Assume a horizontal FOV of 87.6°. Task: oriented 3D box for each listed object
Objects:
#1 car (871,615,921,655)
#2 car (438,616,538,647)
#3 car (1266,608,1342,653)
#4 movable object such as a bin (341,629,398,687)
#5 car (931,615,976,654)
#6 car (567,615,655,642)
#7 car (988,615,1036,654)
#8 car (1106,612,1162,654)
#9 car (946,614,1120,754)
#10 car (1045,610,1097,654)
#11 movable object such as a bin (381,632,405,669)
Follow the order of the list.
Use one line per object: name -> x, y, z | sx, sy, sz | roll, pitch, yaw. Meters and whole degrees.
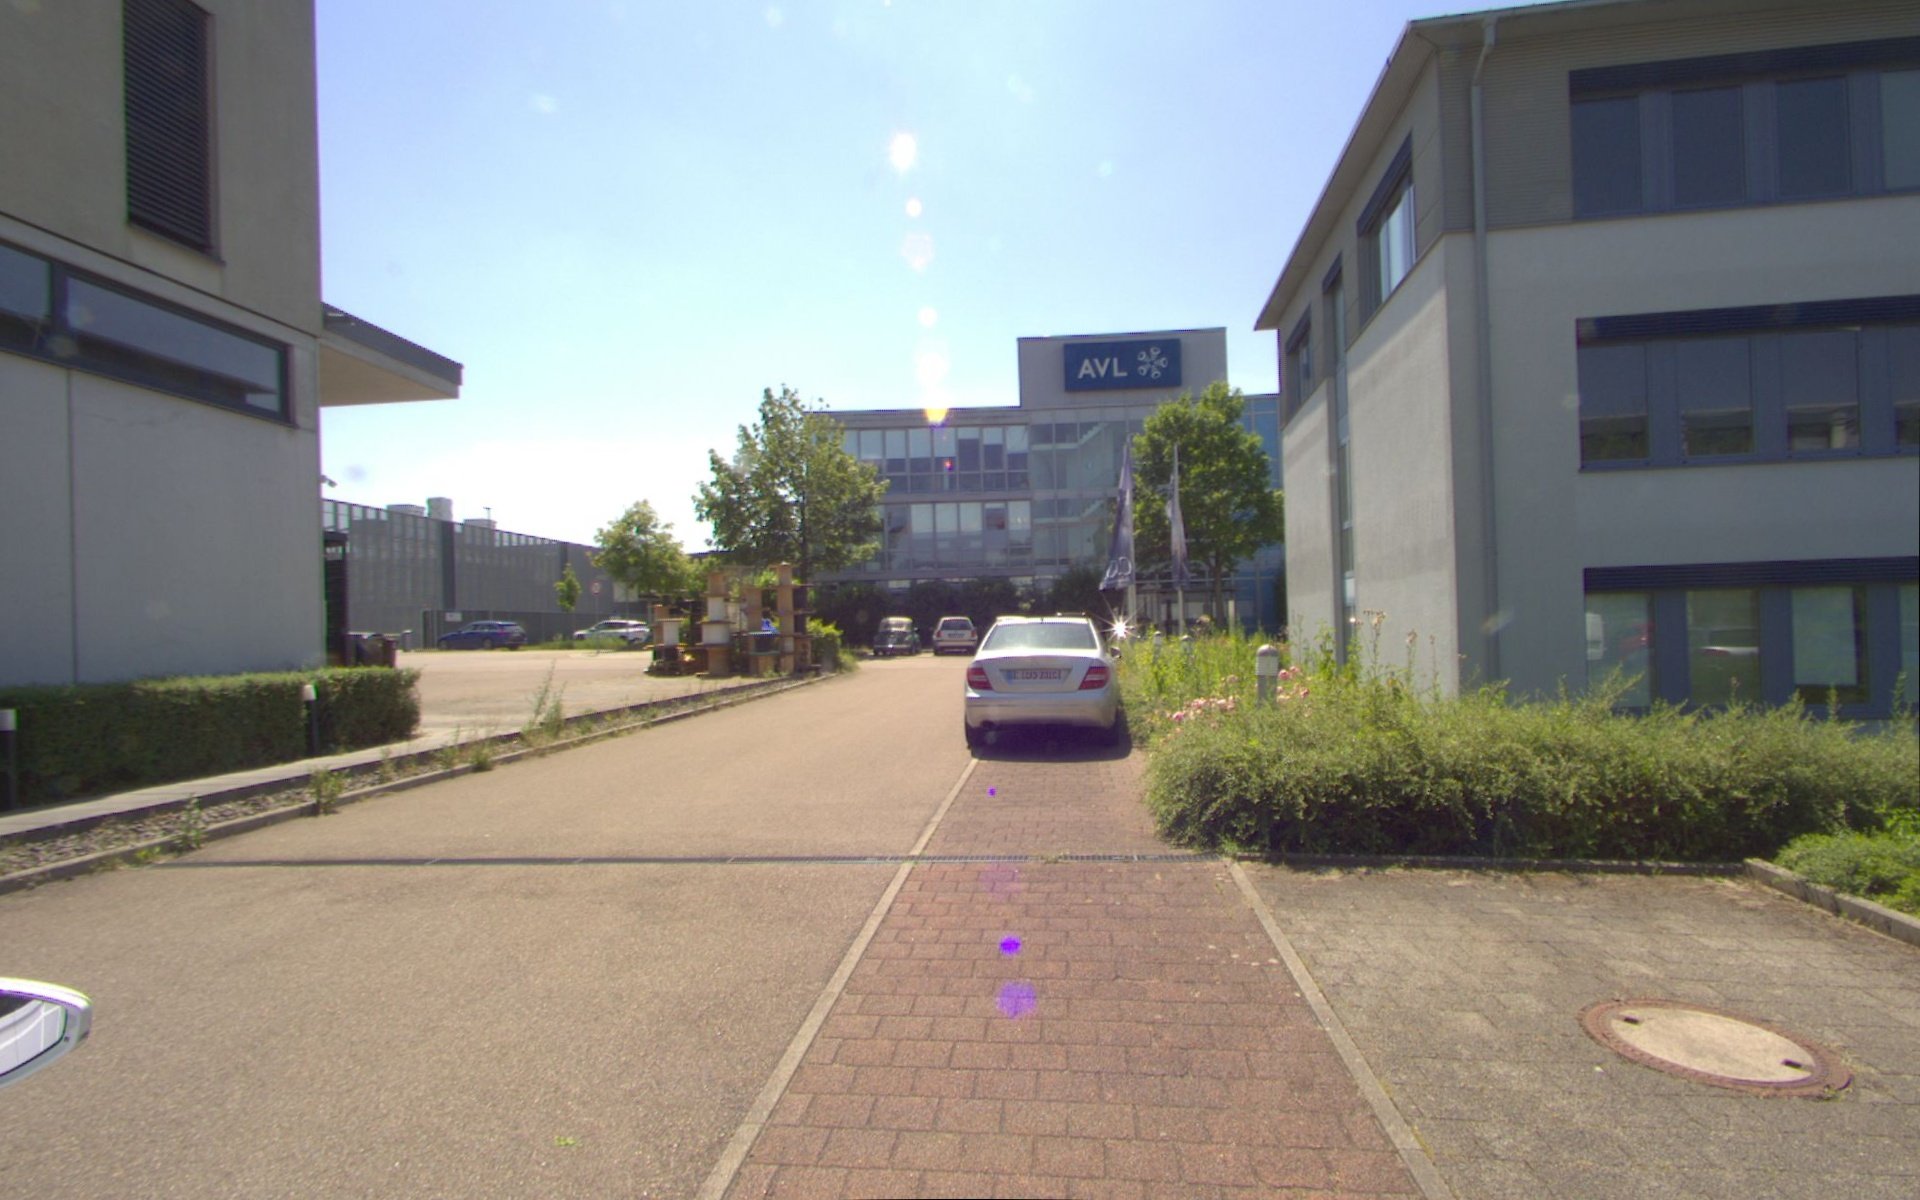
car -> -2.479, 1.344, 39.459 | 1.516, 1.468, 3.654 | 0, 0, 4
car -> -23.694, 1.549, 50.246 | 4.435, 1.511, 1.996 | 0, 0, 20
car -> 13.554, 1.170, 39.750 | 1.790, 1.641, 4.339 | -1, 0, 4
movable object such as a bin -> -14.224, 1.392, 24.128 | 0.798, 1.362, 0.884 | -1, -1, 11
car -> -0.243, 1.334, 39.735 | 1.703, 1.468, 3.654 | 0, 0, 0
car -> -20.746, 1.662, 59.586 | 4.769, 1.511, 1.996 | 0, 0, 20
car -> 2.046, 1.331, 40.113 | 1.736, 1.468, 3.654 | 0, 0, 0
car -> 6.792, 1.244, 39.352 | 1.741, 1.501, 4.258 | -1, 0, 4
car -> 1.082, 0.926, 12.484 | 1.771, 1.416, 4.419 | -1, -2, 9
car -> 4.345, 1.224, 39.666 | 1.896, 1.632, 3.986 | 0, 0, 4
movable object such as a bin -> -16.167, 1.439, 28.547 | 0.570, 1.050, 0.424 | -1, -1, -28
